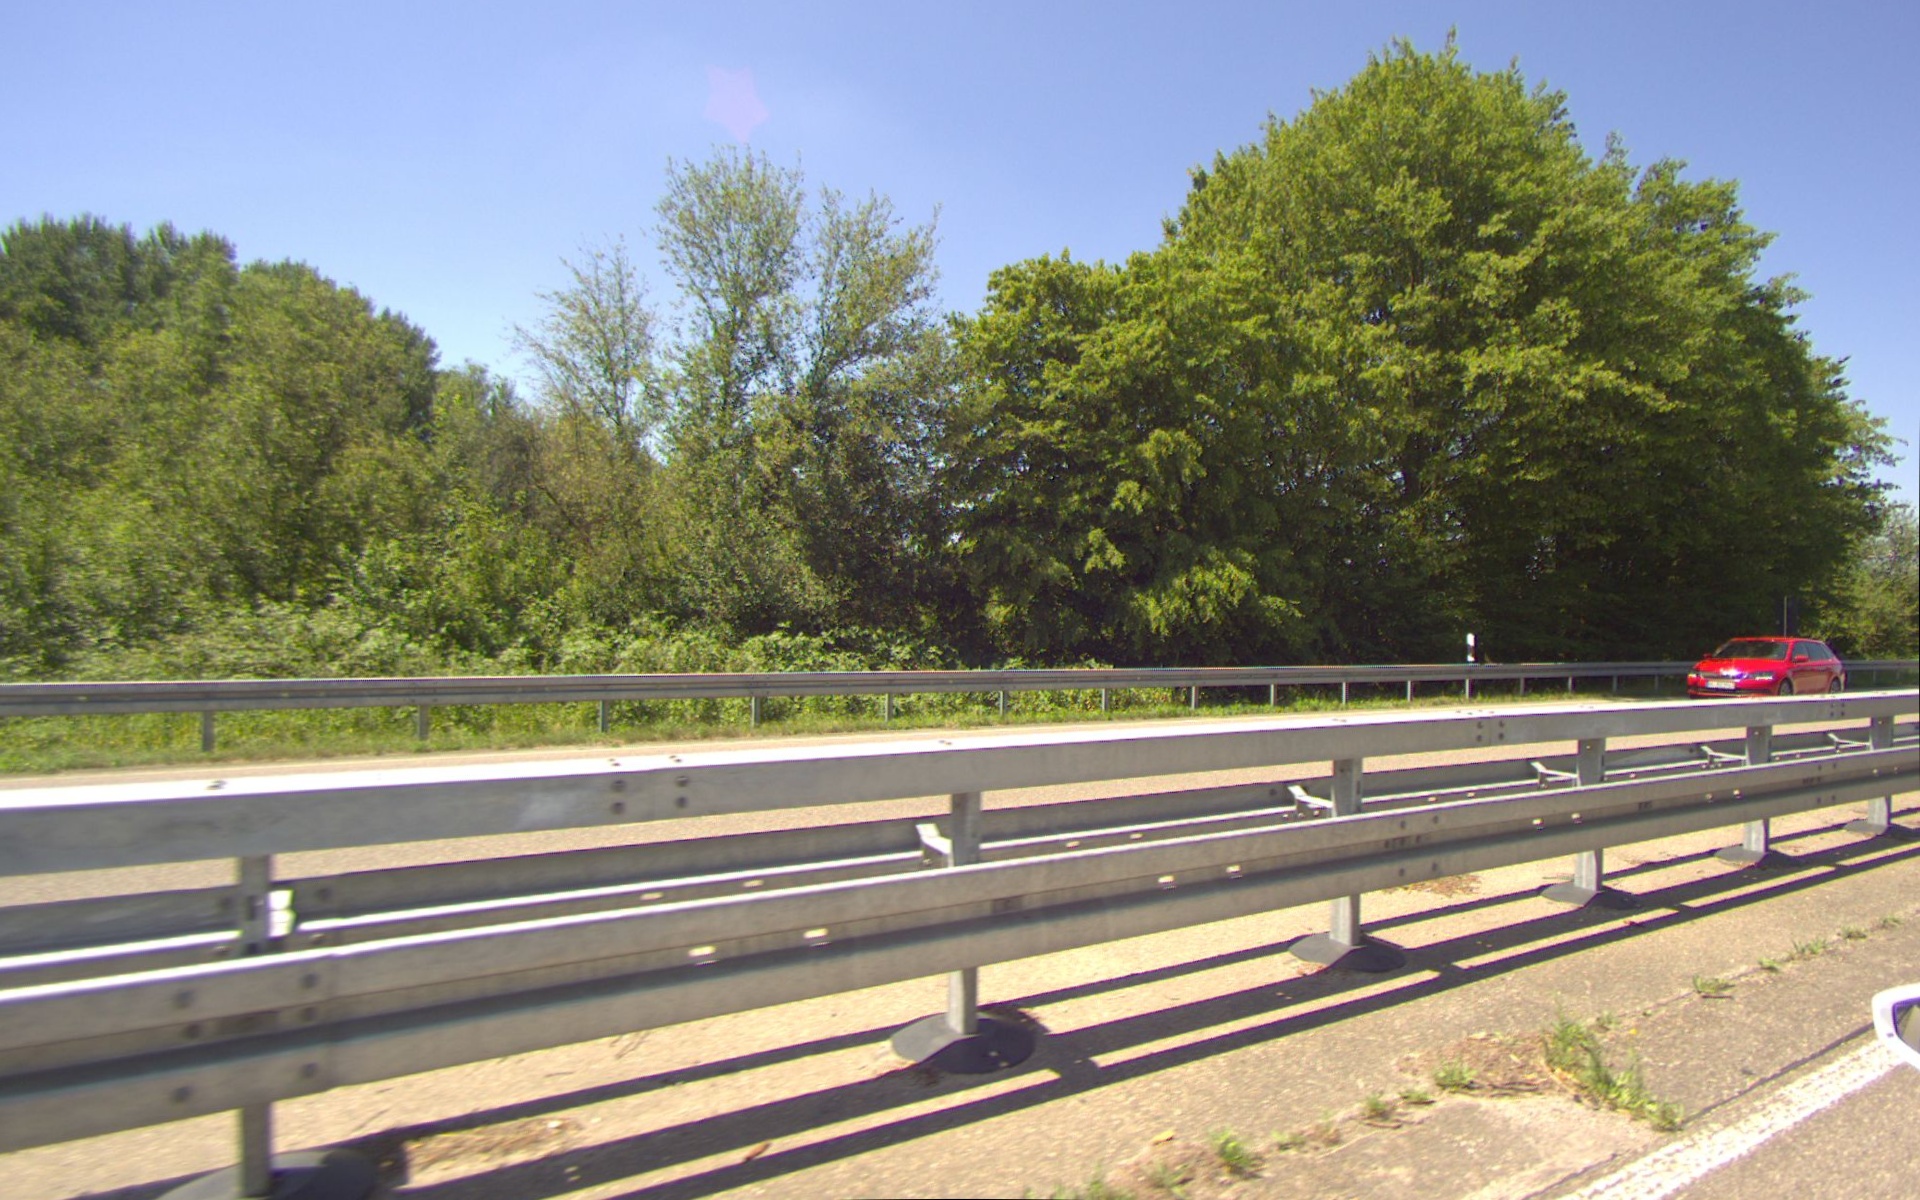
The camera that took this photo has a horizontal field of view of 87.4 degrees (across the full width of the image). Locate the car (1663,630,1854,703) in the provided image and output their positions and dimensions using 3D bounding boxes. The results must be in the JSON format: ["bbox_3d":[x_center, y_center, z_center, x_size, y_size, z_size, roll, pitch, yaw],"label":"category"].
[{"bbox_3d":[17.354,1.395,21.788,4.522,1.438,1.767,2,-2,-31],"label":"car"}]
